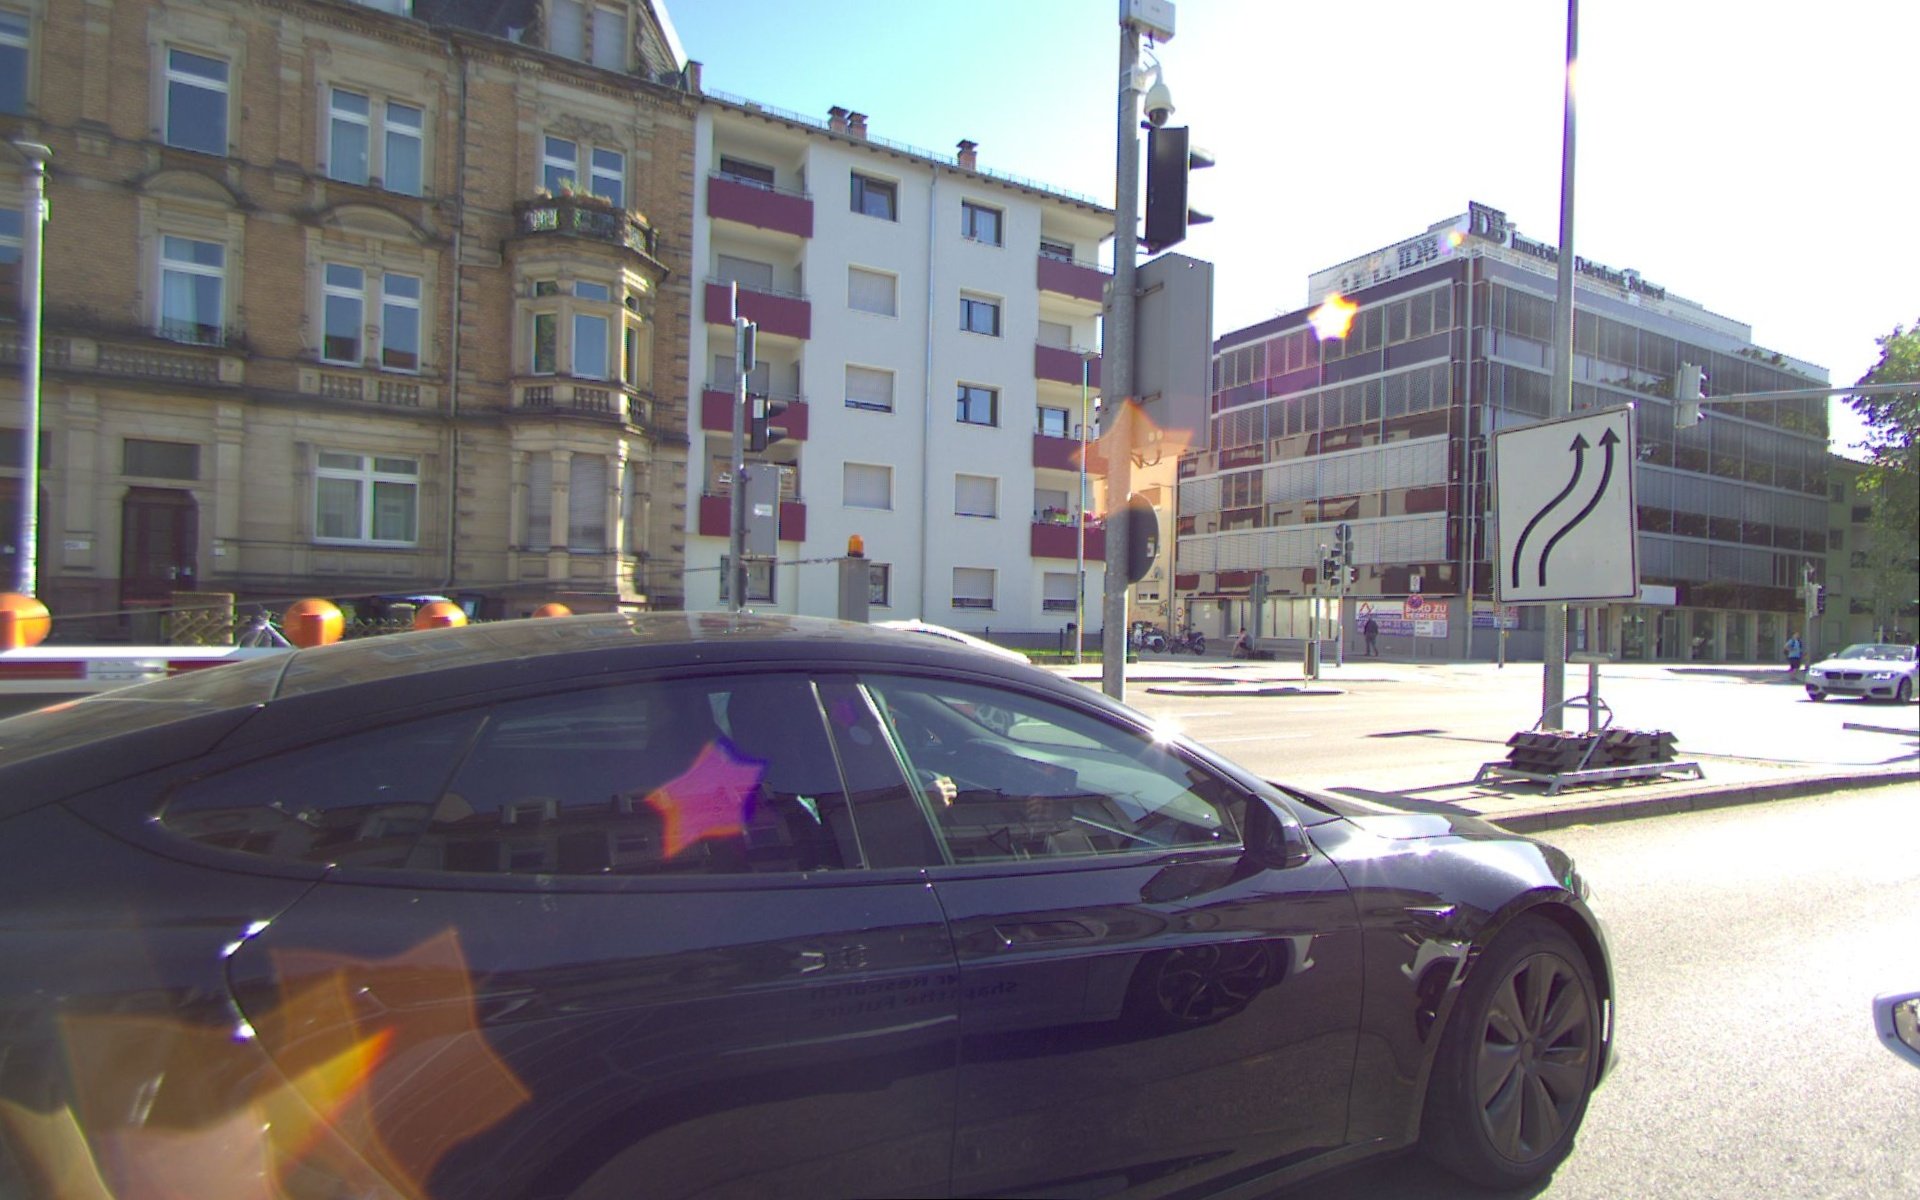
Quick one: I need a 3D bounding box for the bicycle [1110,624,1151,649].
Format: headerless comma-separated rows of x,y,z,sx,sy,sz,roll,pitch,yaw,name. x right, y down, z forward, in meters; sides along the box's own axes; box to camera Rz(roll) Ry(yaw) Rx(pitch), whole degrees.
7.198,1.552,42.388,1.712,1.017,0.507,2,0,-25,bicycle

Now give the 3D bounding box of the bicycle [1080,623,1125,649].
5.606,1.431,39.547,1.712,0.982,0.573,2,0,-24,bicycle

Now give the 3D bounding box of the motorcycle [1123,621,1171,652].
7.237,1.402,38.855,1.756,1.157,0.610,2,0,-20,motorcycle

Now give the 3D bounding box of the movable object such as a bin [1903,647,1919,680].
41.717,2.745,43.206,1.832,1.407,1.110,2,0,-27,movable object such as a bin

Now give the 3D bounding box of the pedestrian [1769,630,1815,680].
29.599,1.962,35.737,0.997,1.733,0.863,1,0,-22,pedestrian

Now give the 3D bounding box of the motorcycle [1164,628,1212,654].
8.744,1.559,38.464,1.815,0.949,0.502,2,0,-22,motorcycle

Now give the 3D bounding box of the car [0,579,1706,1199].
-0.293,0.695,2.600,4.570,1.431,1.916,0,0,-30,car

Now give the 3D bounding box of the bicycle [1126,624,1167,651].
7.703,1.552,41.449,1.714,1.083,0.487,2,0,-27,bicycle

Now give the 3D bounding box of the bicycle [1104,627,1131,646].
6.976,1.619,44.411,0.408,0.825,1.717,1,-1,37,bicycle

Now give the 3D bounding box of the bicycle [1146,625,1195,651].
8.432,1.521,40.166,1.852,0.991,0.507,2,0,-13,bicycle

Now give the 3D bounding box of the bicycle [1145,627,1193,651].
8.516,1.589,40.857,1.922,0.960,0.476,2,0,-21,bicycle

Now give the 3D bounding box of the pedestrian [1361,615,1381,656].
17.534,1.504,42.885,0.688,1.680,0.745,1,0,29,pedestrian

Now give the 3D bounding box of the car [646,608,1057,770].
-1.226,0.922,11.762,4.340,1.472,1.983,1,2,-31,car

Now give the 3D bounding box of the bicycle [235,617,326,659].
-12.962,0.729,19.194,1.396,0.781,0.297,2,0,-29,bicycle

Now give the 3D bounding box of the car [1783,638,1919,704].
21.854,1.649,23.887,4.258,1.363,1.925,2,-1,-26,car

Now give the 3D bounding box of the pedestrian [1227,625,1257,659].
10.072,1.490,35.874,0.783,1.168,0.711,2,0,-41,pedestrian

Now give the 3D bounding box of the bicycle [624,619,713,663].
-6.594,0.927,22.788,1.916,0.971,0.303,2,-1,-29,bicycle
